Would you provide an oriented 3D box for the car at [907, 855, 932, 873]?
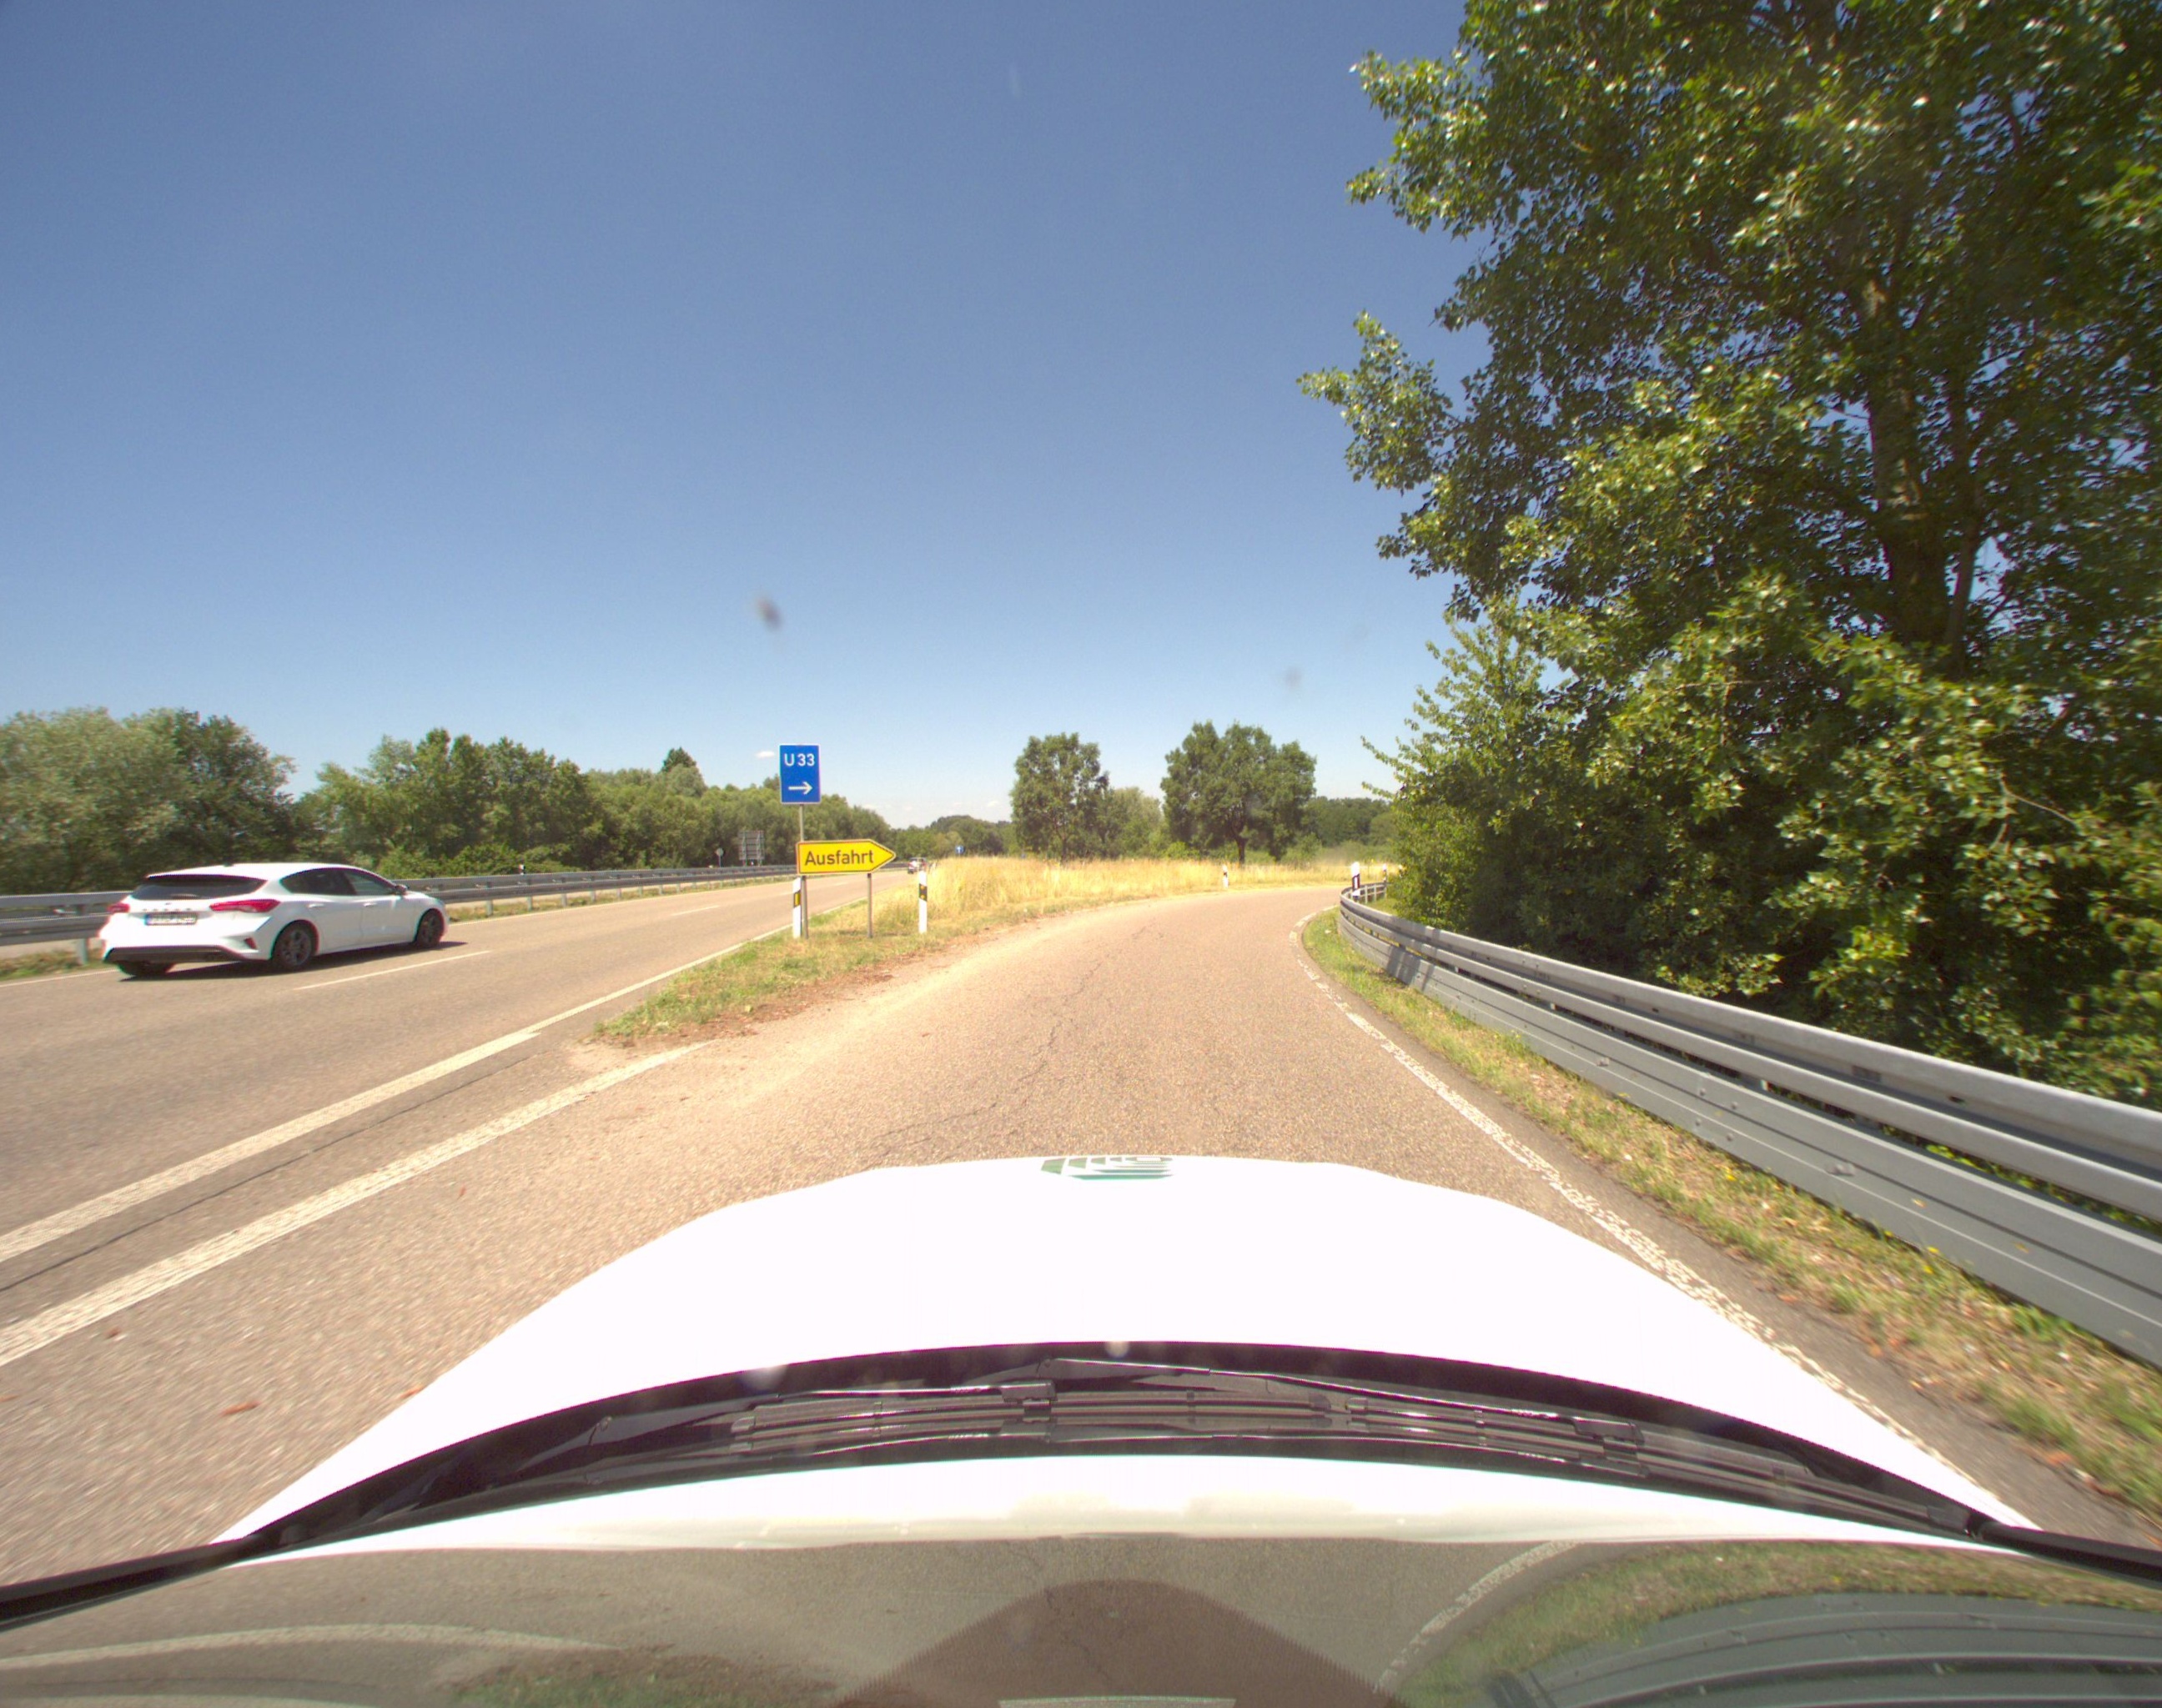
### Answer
[{"bbox_3d":[-15.350,0.943,77.546,2.033,1.673,3.991,0,0,-7],"label":"car"}]
